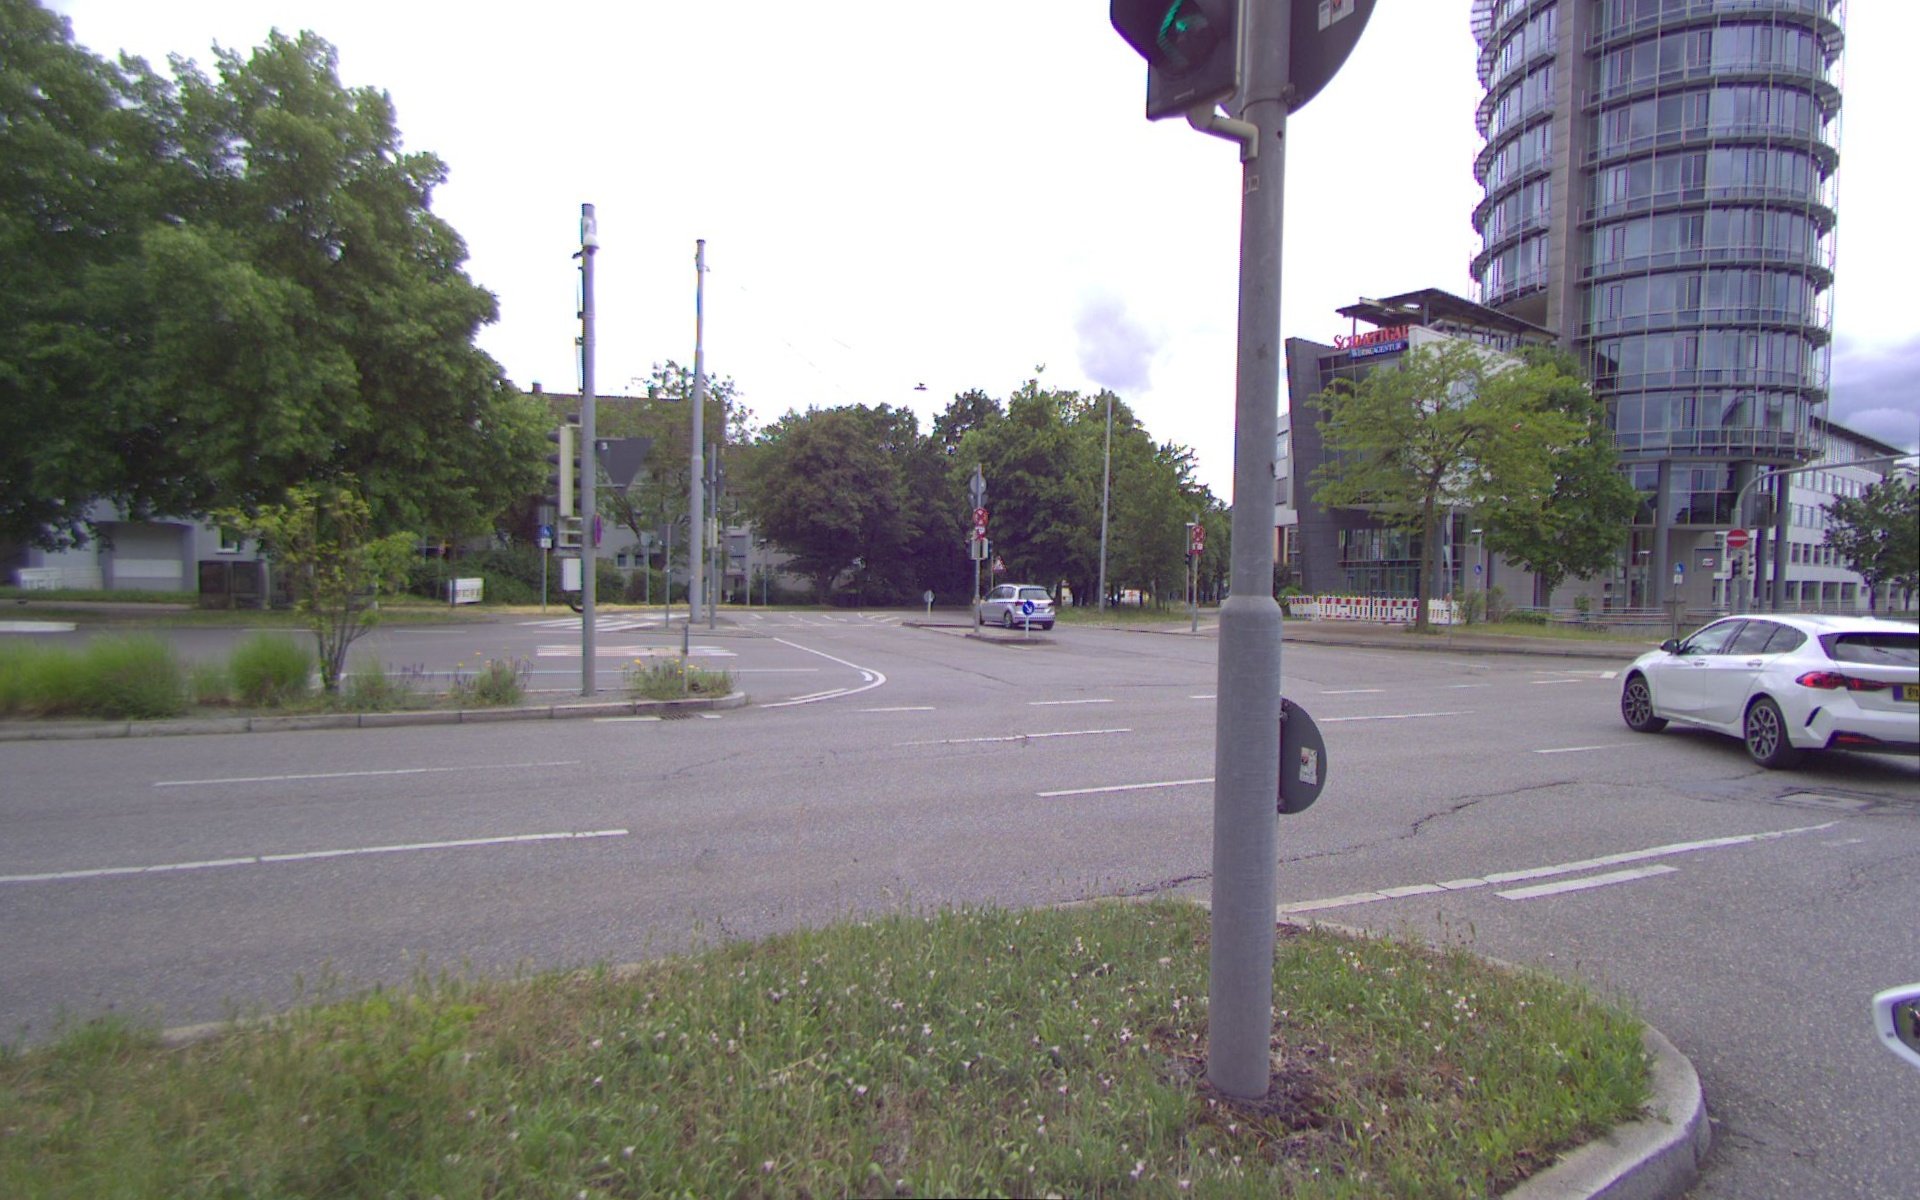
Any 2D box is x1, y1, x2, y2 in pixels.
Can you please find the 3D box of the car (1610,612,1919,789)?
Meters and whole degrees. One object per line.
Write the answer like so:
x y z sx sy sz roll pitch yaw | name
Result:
8.776 0.914 10.710 1.791 1.457 4.002 2 0 13 | car

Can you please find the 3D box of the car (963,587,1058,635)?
1.803 0.376 36.820 1.537 1.590 3.967 1 1 -31 | car

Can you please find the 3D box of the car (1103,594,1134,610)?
25.618 0.314 162.017 4.472 2.370 1.995 2 0 -13 | car

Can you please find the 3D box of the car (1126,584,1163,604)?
8.721 -0.275 47.422 1.684 0.888 0.776 1 1 10 | car
